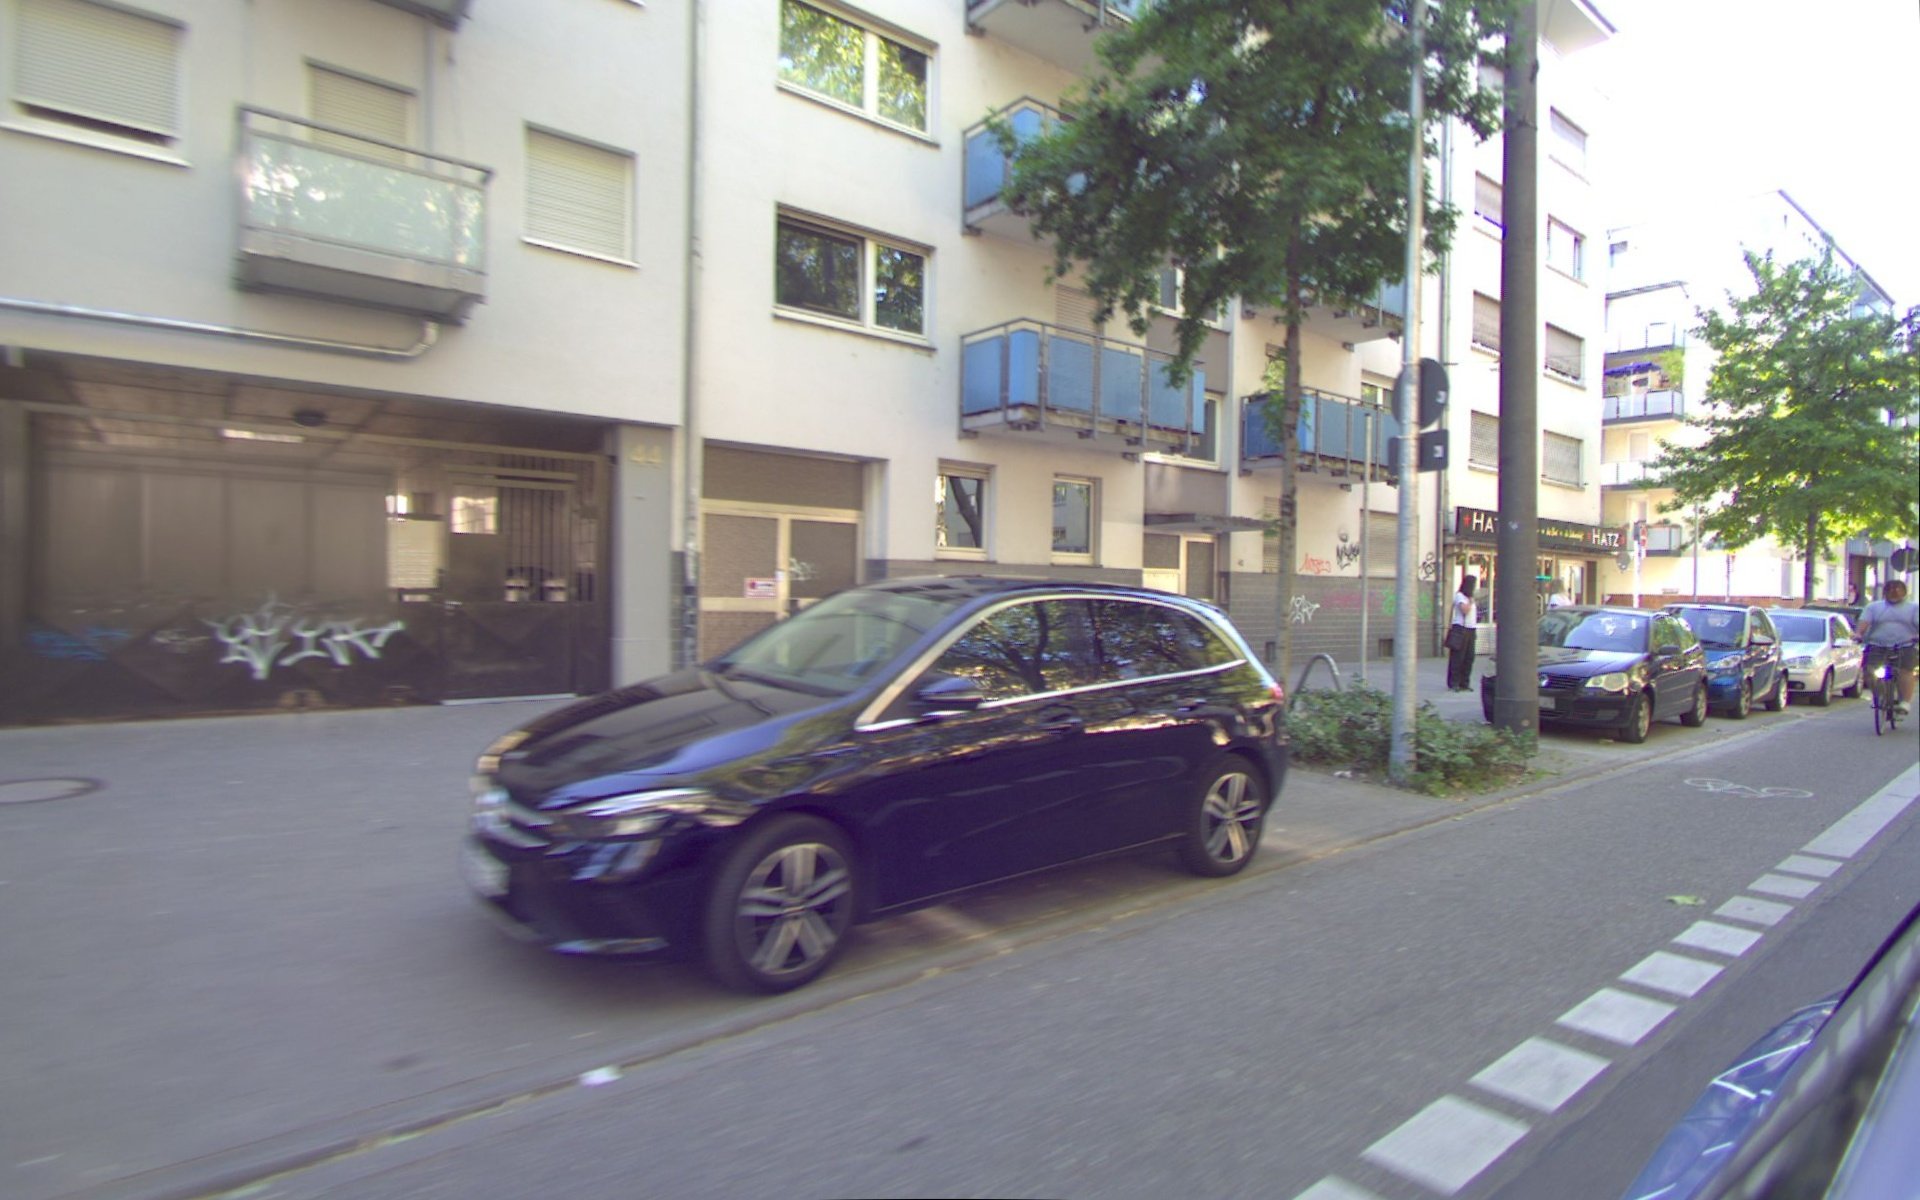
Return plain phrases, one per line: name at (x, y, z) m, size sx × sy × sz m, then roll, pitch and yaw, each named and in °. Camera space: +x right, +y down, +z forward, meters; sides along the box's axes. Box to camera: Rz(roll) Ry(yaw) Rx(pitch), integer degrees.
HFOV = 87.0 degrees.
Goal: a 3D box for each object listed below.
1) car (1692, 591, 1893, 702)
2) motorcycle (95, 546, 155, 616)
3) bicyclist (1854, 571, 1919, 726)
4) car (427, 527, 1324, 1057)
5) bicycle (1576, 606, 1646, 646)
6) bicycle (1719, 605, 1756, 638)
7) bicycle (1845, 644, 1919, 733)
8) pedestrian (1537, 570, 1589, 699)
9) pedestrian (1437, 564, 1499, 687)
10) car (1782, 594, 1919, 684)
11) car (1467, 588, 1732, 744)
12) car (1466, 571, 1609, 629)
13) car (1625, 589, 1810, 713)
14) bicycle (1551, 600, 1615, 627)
car at (14.094, 0.702, 17.061) m, size 4.053 × 1.555 × 1.791 m, roll 1°, pitch 3°, yaw -39°
motorcycle at (-13.982, -0.301, 16.923) m, size 0.704 × 1.091 × 2.413 m, roll 0°, pitch 0°, yaw -41°
bicyclist at (11.795, 0.576, 12.633) m, size 1.079 × 1.854 × 0.769 m, roll 0°, pitch 0°, yaw -38°
car at (-0.154, 0.551, 5.146) m, size 4.251 × 1.606 × 1.764 m, roll 0°, pitch 4°, yaw -39°
bicycle at (20.868, 0.803, 32.498) m, size 0.471 × 1.222 × 2.078 m, roll 0°, pitch 0°, yaw -17°
bicycle at (28.234, 0.766, 36.758) m, size 1.960 × 1.166 × 0.616 m, roll 0°, pitch 1°, yaw -39°
bicycle at (11.771, 1.066, 12.609) m, size 1.904 × 0.949 × 0.790 m, roll 0°, pitch 0°, yaw -38°
pedestrian at (8.977, 0.498, 15.063) m, size 0.652 × 1.875 × 0.476 m, roll 1°, pitch 0°, yaw -41°
pedestrian at (7.899, 0.395, 15.734) m, size 0.650 × 1.875 × 0.540 m, roll 1°, pitch 0°, yaw -10°
car at (18.503, 0.713, 20.886) m, size 4.187 × 1.590 × 1.723 m, roll 0°, pitch 4°, yaw -42°
car at (7.768, 0.678, 12.156) m, size 3.822 × 1.500 × 1.626 m, roll 1°, pitch 3°, yaw -41°
car at (19.489, -0.014, 34.227) m, size 3.981 × 1.820 × 1.760 m, roll 0°, pitch 0°, yaw 40°
car at (10.999, 0.675, 14.653) m, size 2.829 × 1.556 × 1.448 m, roll 1°, pitch 2°, yaw -39°
bicycle at (24.810, 0.521, 40.345) m, size 0.595 × 1.004 × 2.112 m, roll 0°, pitch 2°, yaw -35°
